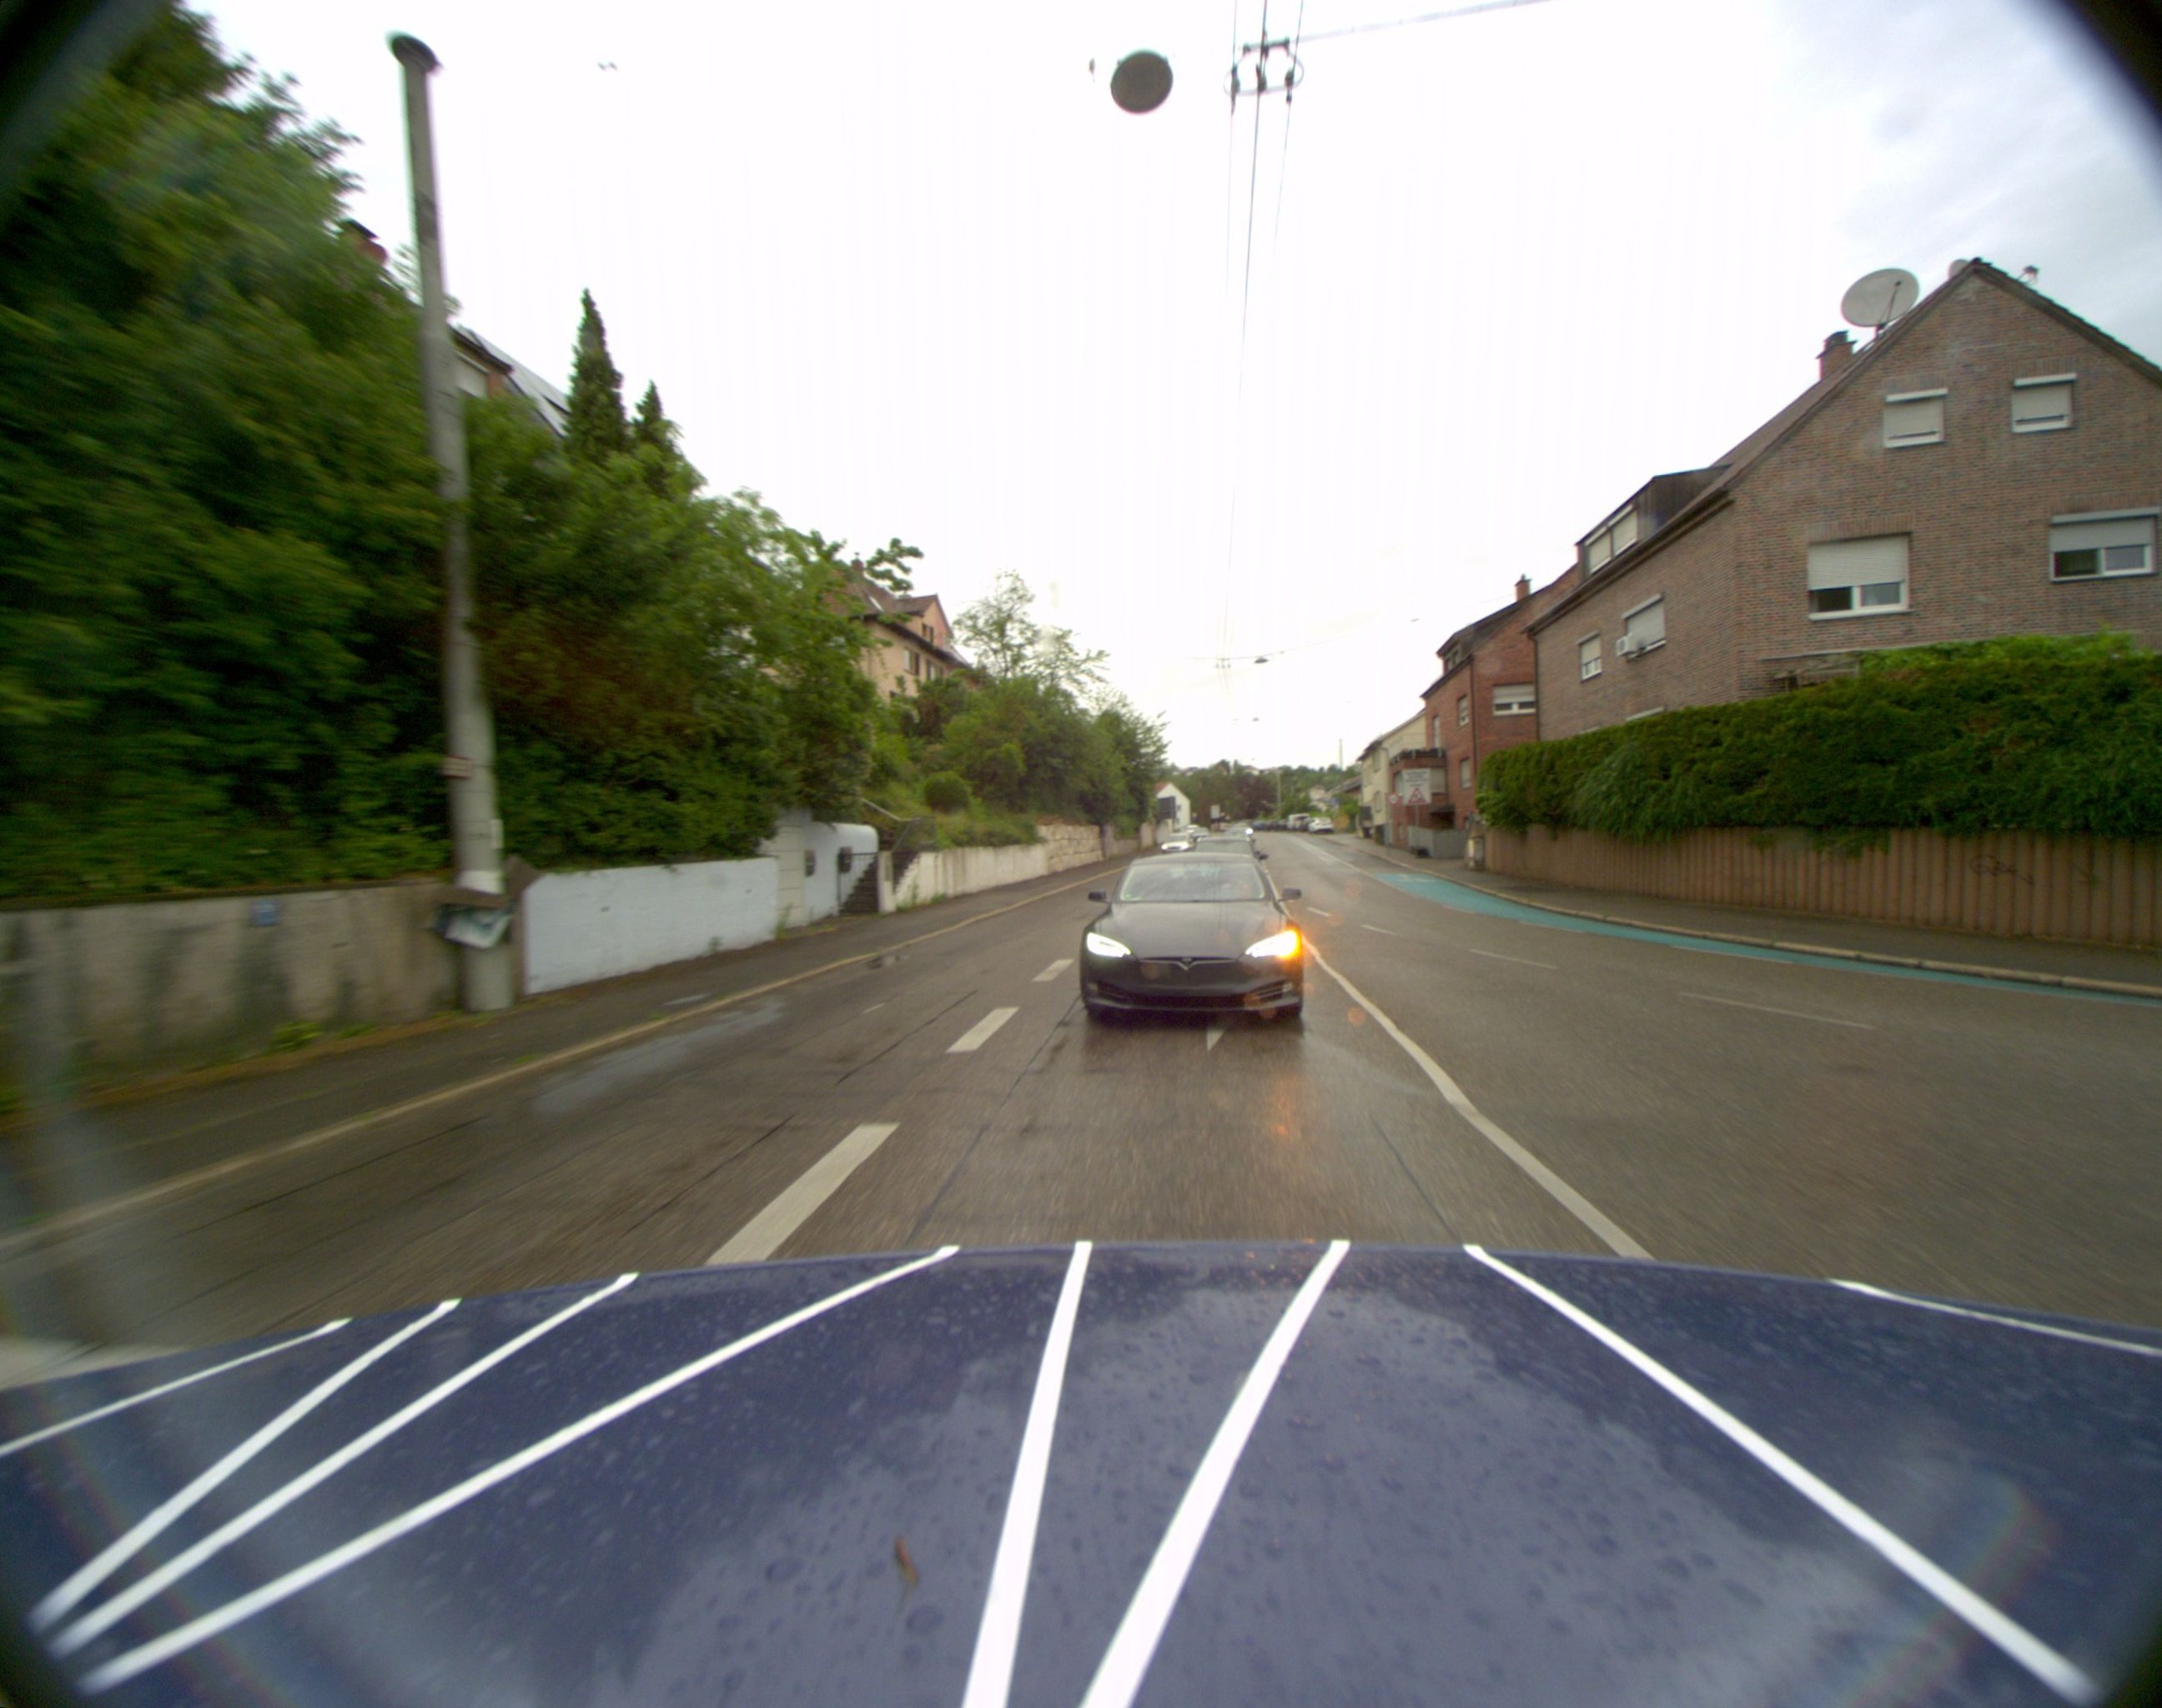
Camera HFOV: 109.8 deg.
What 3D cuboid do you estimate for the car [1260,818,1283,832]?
[{"bbox_3d":[25.464,-3.817,101.665,1.772,1.749,4.322,-2,1,-2],"label":"car"}]

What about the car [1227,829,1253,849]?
[{"bbox_3d":[12.377,-1.179,59.300,1.757,1.452,4.043,-1,1,9],"label":"car"}]

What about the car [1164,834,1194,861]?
[{"bbox_3d":[5.962,-0.399,45.987,1.550,1.443,3.367,-2,2,11],"label":"car"}]

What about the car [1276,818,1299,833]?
[{"bbox_3d":[25.970,-3.597,95.856,1.772,1.749,4.324,-2,1,2],"label":"car"}]

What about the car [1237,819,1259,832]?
[{"bbox_3d":[24.566,-4.179,112.101,1.773,1.749,4.320,-3,1,-8],"label":"car"}]

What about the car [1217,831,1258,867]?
[{"bbox_3d":[7.510,-0.272,36.807,1.757,1.640,4.043,0,1,9],"label":"car"}]

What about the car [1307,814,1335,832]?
[{"bbox_3d":[24.003,-3.093,76.141,1.948,1.601,4.452,-2,1,8],"label":"car"}]

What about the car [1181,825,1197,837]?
[{"bbox_3d":[13.373,-2.867,94.258,1.614,1.392,3.364,-3,2,3],"label":"car"}]

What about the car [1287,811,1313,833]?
[{"bbox_3d":[25.896,-3.751,89.995,2.010,2.442,4.451,-2,1,5],"label":"car"}]

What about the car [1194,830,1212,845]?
[{"bbox_3d":[12.495,-1.684,78.049,1.614,1.392,3.365,-2,2,7],"label":"car"}]

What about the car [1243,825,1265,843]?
[{"bbox_3d":[17.050,-1.991,75.018,1.757,1.640,4.043,-4,1,9],"label":"car"}]

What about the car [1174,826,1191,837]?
[{"bbox_3d":[13.329,-2.993,99.885,1.615,1.392,3.363,-3,2,-2],"label":"car"}]

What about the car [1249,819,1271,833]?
[{"bbox_3d":[25.209,-3.923,107.146,1.773,1.749,4.321,-2,1,-5],"label":"car"}]

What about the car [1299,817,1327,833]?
[{"bbox_3d":[25.143,-3.161,82.513,1.948,1.601,4.451,-2,1,5],"label":"car"}]

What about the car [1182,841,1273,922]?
[{"bbox_3d":[3.305,0.545,17.809,1.799,1.601,4.043,-2,1,8],"label":"car"}]

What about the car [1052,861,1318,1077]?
[{"bbox_3d":[1.038,0.858,7.559,1.834,1.384,4.326,-2,1,8],"label":"car"}]
